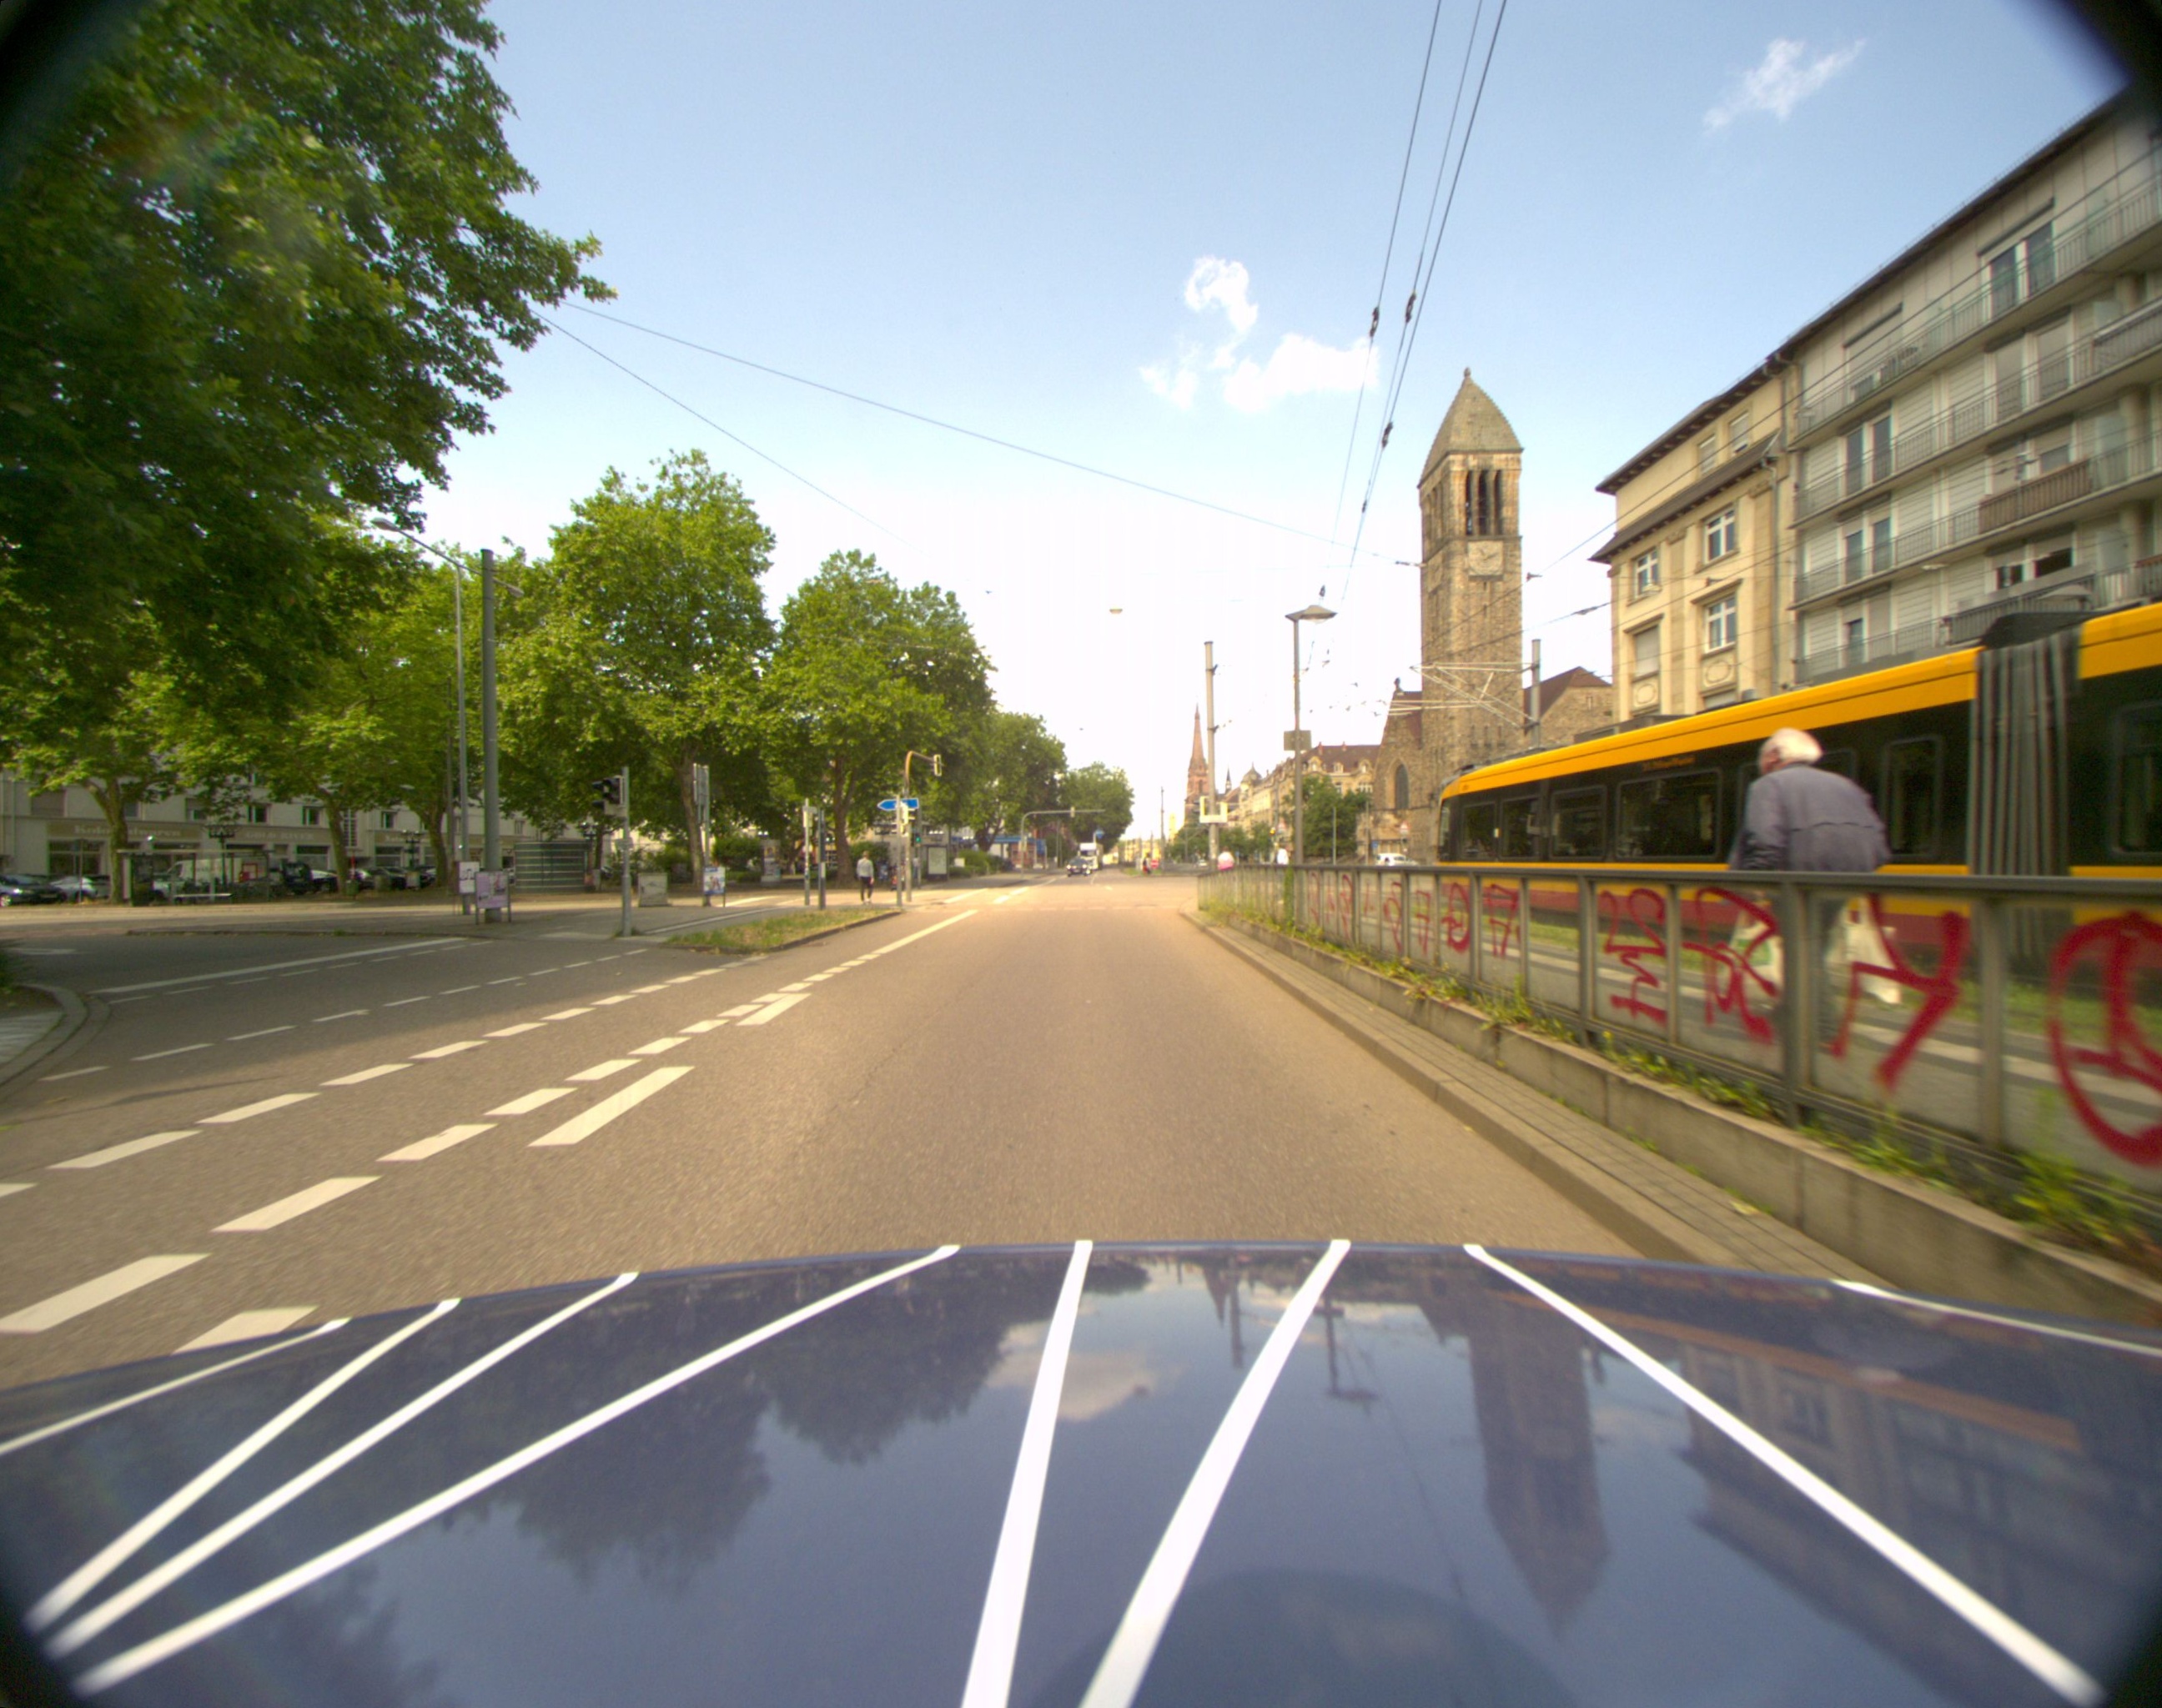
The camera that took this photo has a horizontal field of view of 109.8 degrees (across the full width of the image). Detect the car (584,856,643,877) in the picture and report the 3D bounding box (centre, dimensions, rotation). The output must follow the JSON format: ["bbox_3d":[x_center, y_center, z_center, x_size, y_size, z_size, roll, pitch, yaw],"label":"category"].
[{"bbox_3d":[-46.028,1.222,74.871,4.486,1.894,2.105,-1,0,4],"label":"car"}]

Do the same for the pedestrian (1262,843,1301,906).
[{"bbox_3d":[5.794,0.578,21.999,0.850,1.770,1.045,-1,0,2],"label":"pedestrian"}]

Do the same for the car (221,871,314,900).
[{"bbox_3d":[-42.761,1.650,39.986,3.066,1.381,1.469,-1,0,-7],"label":"car"}]

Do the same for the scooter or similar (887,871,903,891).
[{"bbox_3d":[-9.801,1.414,40.079,0.489,1.050,0.710,0,0,27],"label":"scooter or similar"}]

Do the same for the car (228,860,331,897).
[{"bbox_3d":[-47.085,1.401,44.713,3.996,2.064,2.000,-1,0,2],"label":"car"}]

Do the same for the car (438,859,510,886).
[{"bbox_3d":[-47.514,1.404,59.552,3.997,2.002,2.000,-1,0,0],"label":"car"}]

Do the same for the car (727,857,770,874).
[{"bbox_3d":[-37.297,1.291,85.256,3.996,1.789,1.870,-1,0,4],"label":"car"}]

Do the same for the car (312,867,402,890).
[{"bbox_3d":[-46.943,1.567,49.337,3.996,1.414,2.000,-1,0,2],"label":"car"}]

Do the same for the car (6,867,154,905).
[{"bbox_3d":[-48.195,1.516,36.652,4.535,1.680,1.911,-1,0,0],"label":"car"}]

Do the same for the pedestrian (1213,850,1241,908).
[{"bbox_3d":[4.313,0.728,22.431,0.624,1.656,0.677,-1,0,27],"label":"pedestrian"}]

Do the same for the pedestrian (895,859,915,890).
[{"bbox_3d":[-9.451,1.097,40.803,0.569,1.636,0.924,0,0,27],"label":"pedestrian"}]

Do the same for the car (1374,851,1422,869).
[{"bbox_3d":[33.881,0.660,81.270,4.301,1.842,2.001,1,-1,1],"label":"car"}]

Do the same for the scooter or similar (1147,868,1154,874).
[{"bbox_3d":[5.892,1.466,64.708,0.521,0.532,0.310,1,0,-10],"label":"scooter or similar"}]

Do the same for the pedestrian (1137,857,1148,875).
[{"bbox_3d":[5.212,0.995,64.353,0.776,1.483,0.658,1,0,-10],"label":"pedestrian"}]

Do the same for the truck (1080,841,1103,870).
[{"bbox_3d":[1.563,0.198,112.826,2.914,4.125,6.593,-1,0,4],"label":"truck"}]

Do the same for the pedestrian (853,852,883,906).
[{"bbox_3d":[-7.160,0.823,25.580,0.694,1.773,0.887,-1,0,4],"label":"pedestrian"}]

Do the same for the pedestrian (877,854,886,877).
[{"bbox_3d":[-15.437,0.903,58.818,0.606,1.740,0.697,-1,0,-22],"label":"pedestrian"}]

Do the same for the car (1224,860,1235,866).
[{"bbox_3d":[29.141,1.731,149.271,1.654,1.226,3.064,-1,-1,2],"label":"car"}]

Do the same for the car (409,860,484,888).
[{"bbox_3d":[-47.590,1.479,57.049,3.996,2.002,2.000,-1,0,3],"label":"car"}]

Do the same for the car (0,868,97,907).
[{"bbox_3d":[-47.528,1.491,33.904,4.535,1.591,2.034,-1,0,0],"label":"car"}]

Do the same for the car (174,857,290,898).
[{"bbox_3d":[-46.792,1.261,41.935,4.253,2.170,2.000,-1,0,2],"label":"car"}]

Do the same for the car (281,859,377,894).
[{"bbox_3d":[-46.636,1.389,47.181,3.996,2.064,2.000,-1,0,2],"label":"car"}]

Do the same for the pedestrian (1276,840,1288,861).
[{"bbox_3d":[16.808,-0.314,63.607,0.771,1.721,0.744,0,0,1],"label":"pedestrian"}]

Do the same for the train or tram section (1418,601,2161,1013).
[{"bbox_3d":[9.967,-0.410,13.094,2.814,3.563,13.017,-1,0,2],"label":"train or tram section"}]

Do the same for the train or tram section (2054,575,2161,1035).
[{"bbox_3d":[9.643,-0.405,1.311,2.802,3.563,10.405,-1,0,2],"label":"train or tram section"}]

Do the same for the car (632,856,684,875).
[{"bbox_3d":[-45.508,1.199,81.787,4.486,1.894,2.105,-1,0,4],"label":"car"}]

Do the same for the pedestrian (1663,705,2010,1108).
[{"bbox_3d":[3.662,0.236,3.783,0.859,1.764,0.876,-1,1,2],"label":"pedestrian"}]

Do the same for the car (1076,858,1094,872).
[{"bbox_3d":[0.451,1.136,81.736,1.733,1.457,4.328,0,0,2],"label":"car"}]

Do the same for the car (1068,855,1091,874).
[{"bbox_3d":[-0.117,0.934,71.578,1.853,1.716,4.420,0,0,3],"label":"car"}]

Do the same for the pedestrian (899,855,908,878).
[{"bbox_3d":[-13.742,0.958,58.766,0.606,1.740,0.697,-1,0,-22],"label":"pedestrian"}]

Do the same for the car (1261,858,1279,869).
[{"bbox_3d":[28.042,1.413,112.735,1.788,1.486,3.838,-1,-1,2],"label":"car"}]

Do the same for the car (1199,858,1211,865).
[{"bbox_3d":[24.574,1.496,150.422,1.818,1.497,4.132,-1,-1,3],"label":"car"}]

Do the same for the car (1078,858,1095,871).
[{"bbox_3d":[0.687,1.244,89.696,1.853,1.438,3.974,0,1,3],"label":"car"}]

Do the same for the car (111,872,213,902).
[{"bbox_3d":[-47.050,1.676,38.958,3.235,1.381,1.469,-1,0,-5],"label":"car"}]

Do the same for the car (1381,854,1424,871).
[{"bbox_3d":[32.889,0.894,77.833,3.635,1.668,1.819,1,-1,-1],"label":"car"}]
